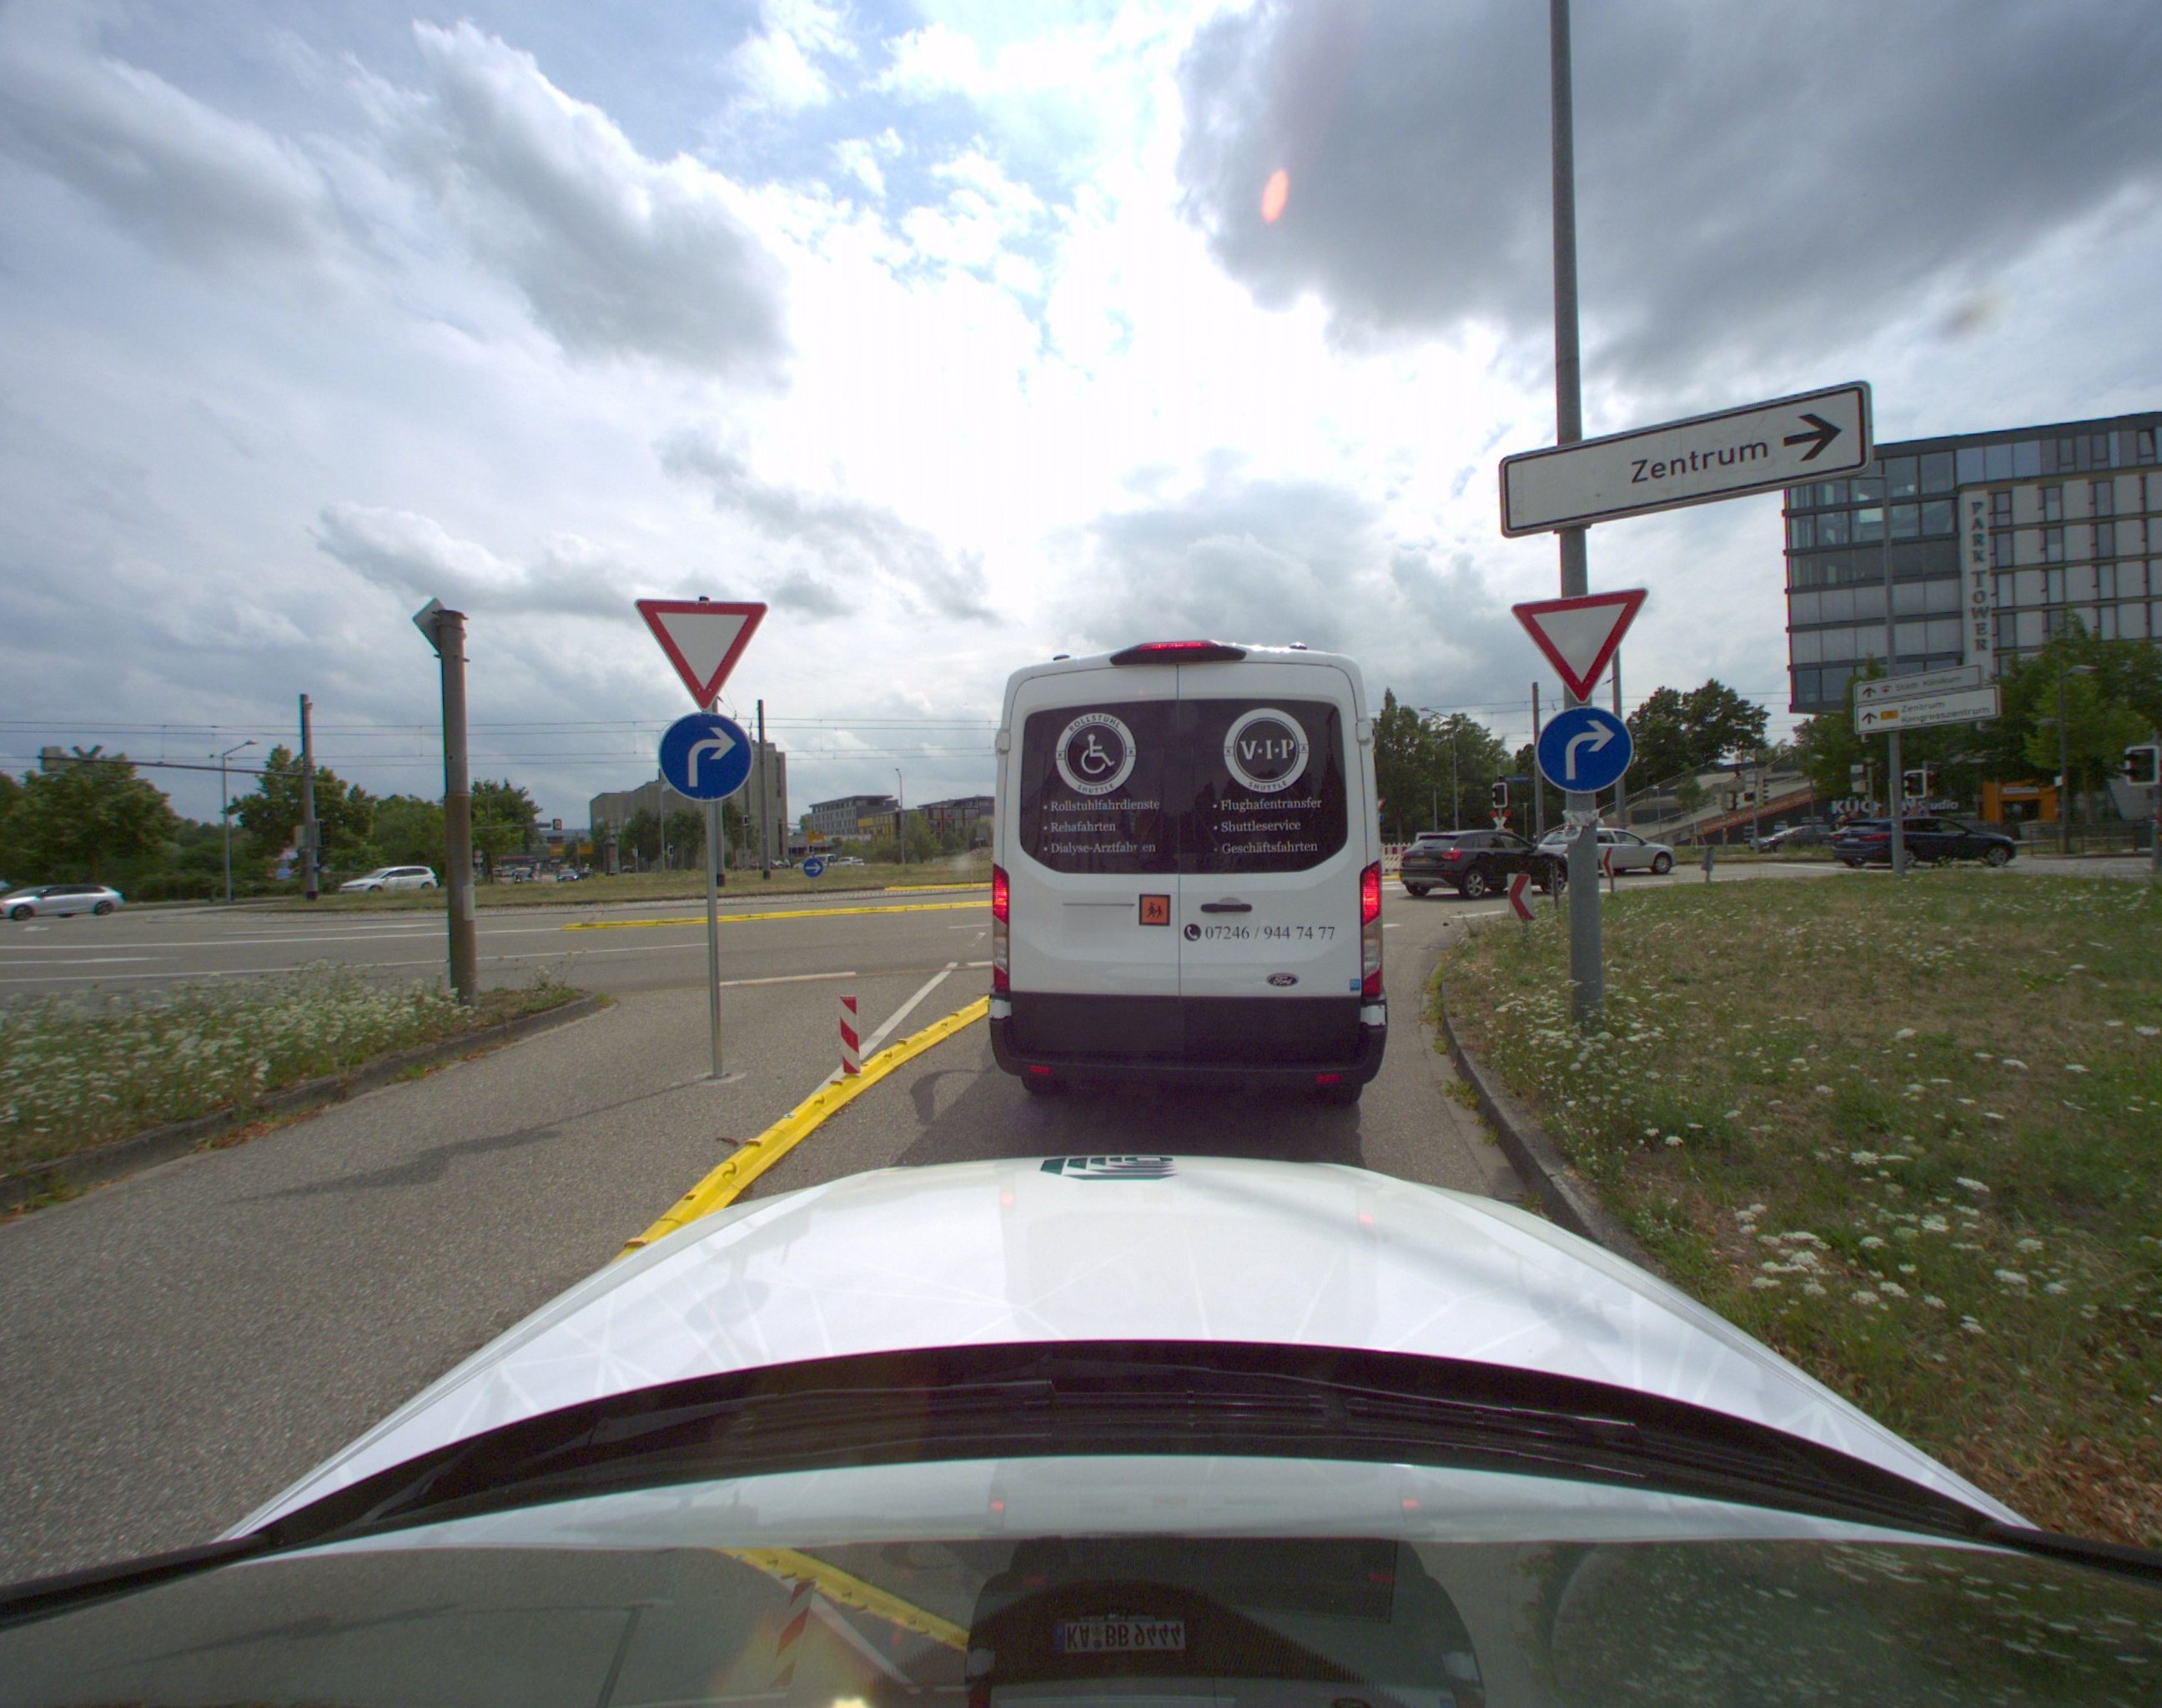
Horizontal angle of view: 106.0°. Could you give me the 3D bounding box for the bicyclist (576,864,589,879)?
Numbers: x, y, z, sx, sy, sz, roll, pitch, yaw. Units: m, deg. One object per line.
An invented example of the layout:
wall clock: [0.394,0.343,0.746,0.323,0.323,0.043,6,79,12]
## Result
bicyclist: [-45.926,1.619,75.070,0.853,1.409,0.678,-2,0,36]

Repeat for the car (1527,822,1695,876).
car: [16.101,-0.161,24.817,4.249,1.462,1.823,-2,1,-12]

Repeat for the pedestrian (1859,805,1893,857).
pedestrian: [27.892,-0.795,28.584,0.628,1.781,0.554,-2,1,6]

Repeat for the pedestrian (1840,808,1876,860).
pedestrian: [27.269,-0.700,28.588,0.684,1.781,0.554,-2,1,6]

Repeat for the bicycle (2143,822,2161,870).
bicycle: [26.857,-0.196,19.815,0.781,1.168,2.054,-2,0,40]

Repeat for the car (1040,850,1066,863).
car: [-3.229,0.258,94.088,1.814,1.463,4.016,-2,0,15]

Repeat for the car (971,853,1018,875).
car: [-8.298,0.946,78.329,4.021,2.014,1.976,0,-1,-41]

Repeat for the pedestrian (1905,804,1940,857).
pedestrian: [28.704,-0.792,27.782,0.575,1.781,0.554,-2,1,6]

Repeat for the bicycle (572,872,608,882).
bicycle: [-45.554,2.123,75.569,0.853,0.855,2.676,-2,1,36]

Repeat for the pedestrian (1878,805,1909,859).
pedestrian: [28.473,-0.760,28.539,0.527,1.862,0.554,-2,1,6]

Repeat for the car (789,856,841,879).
car: [-25.260,1.284,77.422,4.312,2.014,2.009,-1,-1,18]

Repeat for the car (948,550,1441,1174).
car: [0.902,0.038,6.458,2.114,2.697,5.646,-2,0,9]

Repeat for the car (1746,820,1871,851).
car: [38.953,-0.974,43.717,4.689,1.458,1.855,-2,1,13]

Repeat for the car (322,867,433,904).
car: [-39.830,1.733,46.275,1.919,1.665,4.371,-3,2,12]

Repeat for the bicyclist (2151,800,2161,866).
bicyclist: [26.754,-0.525,19.724,0.781,1.627,1.055,-2,0,41]

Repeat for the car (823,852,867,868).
car: [-23.532,0.626,81.179,3.952,1.463,1.843,-1,-1,23]

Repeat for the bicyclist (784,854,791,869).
bicyclist: [-31.130,0.771,86.374,0.650,1.558,0.527,-2,0,-19]

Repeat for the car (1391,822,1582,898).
car: [9.377,0.105,18.800,4.153,1.519,1.727,-2,1,-25]

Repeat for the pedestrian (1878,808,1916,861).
pedestrian: [27.873,-0.676,27.823,0.684,1.781,0.554,-2,1,6]

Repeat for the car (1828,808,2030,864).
car: [26.062,-0.547,25.129,4.340,1.534,1.734,-2,1,2]

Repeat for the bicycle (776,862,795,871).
bicycle: [-31.327,1.303,86.310,1.834,0.877,0.527,-2,0,-19]

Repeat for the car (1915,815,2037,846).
car: [46.912,-1.219,42.788,3.958,1.458,1.856,-2,1,14]

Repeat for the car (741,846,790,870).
car: [-28.352,0.382,73.107,3.949,2.014,2.012,-1,-1,29]

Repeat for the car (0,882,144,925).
car: [-43.891,2.099,34.578,1.985,1.482,5.188,-2,0,3]
